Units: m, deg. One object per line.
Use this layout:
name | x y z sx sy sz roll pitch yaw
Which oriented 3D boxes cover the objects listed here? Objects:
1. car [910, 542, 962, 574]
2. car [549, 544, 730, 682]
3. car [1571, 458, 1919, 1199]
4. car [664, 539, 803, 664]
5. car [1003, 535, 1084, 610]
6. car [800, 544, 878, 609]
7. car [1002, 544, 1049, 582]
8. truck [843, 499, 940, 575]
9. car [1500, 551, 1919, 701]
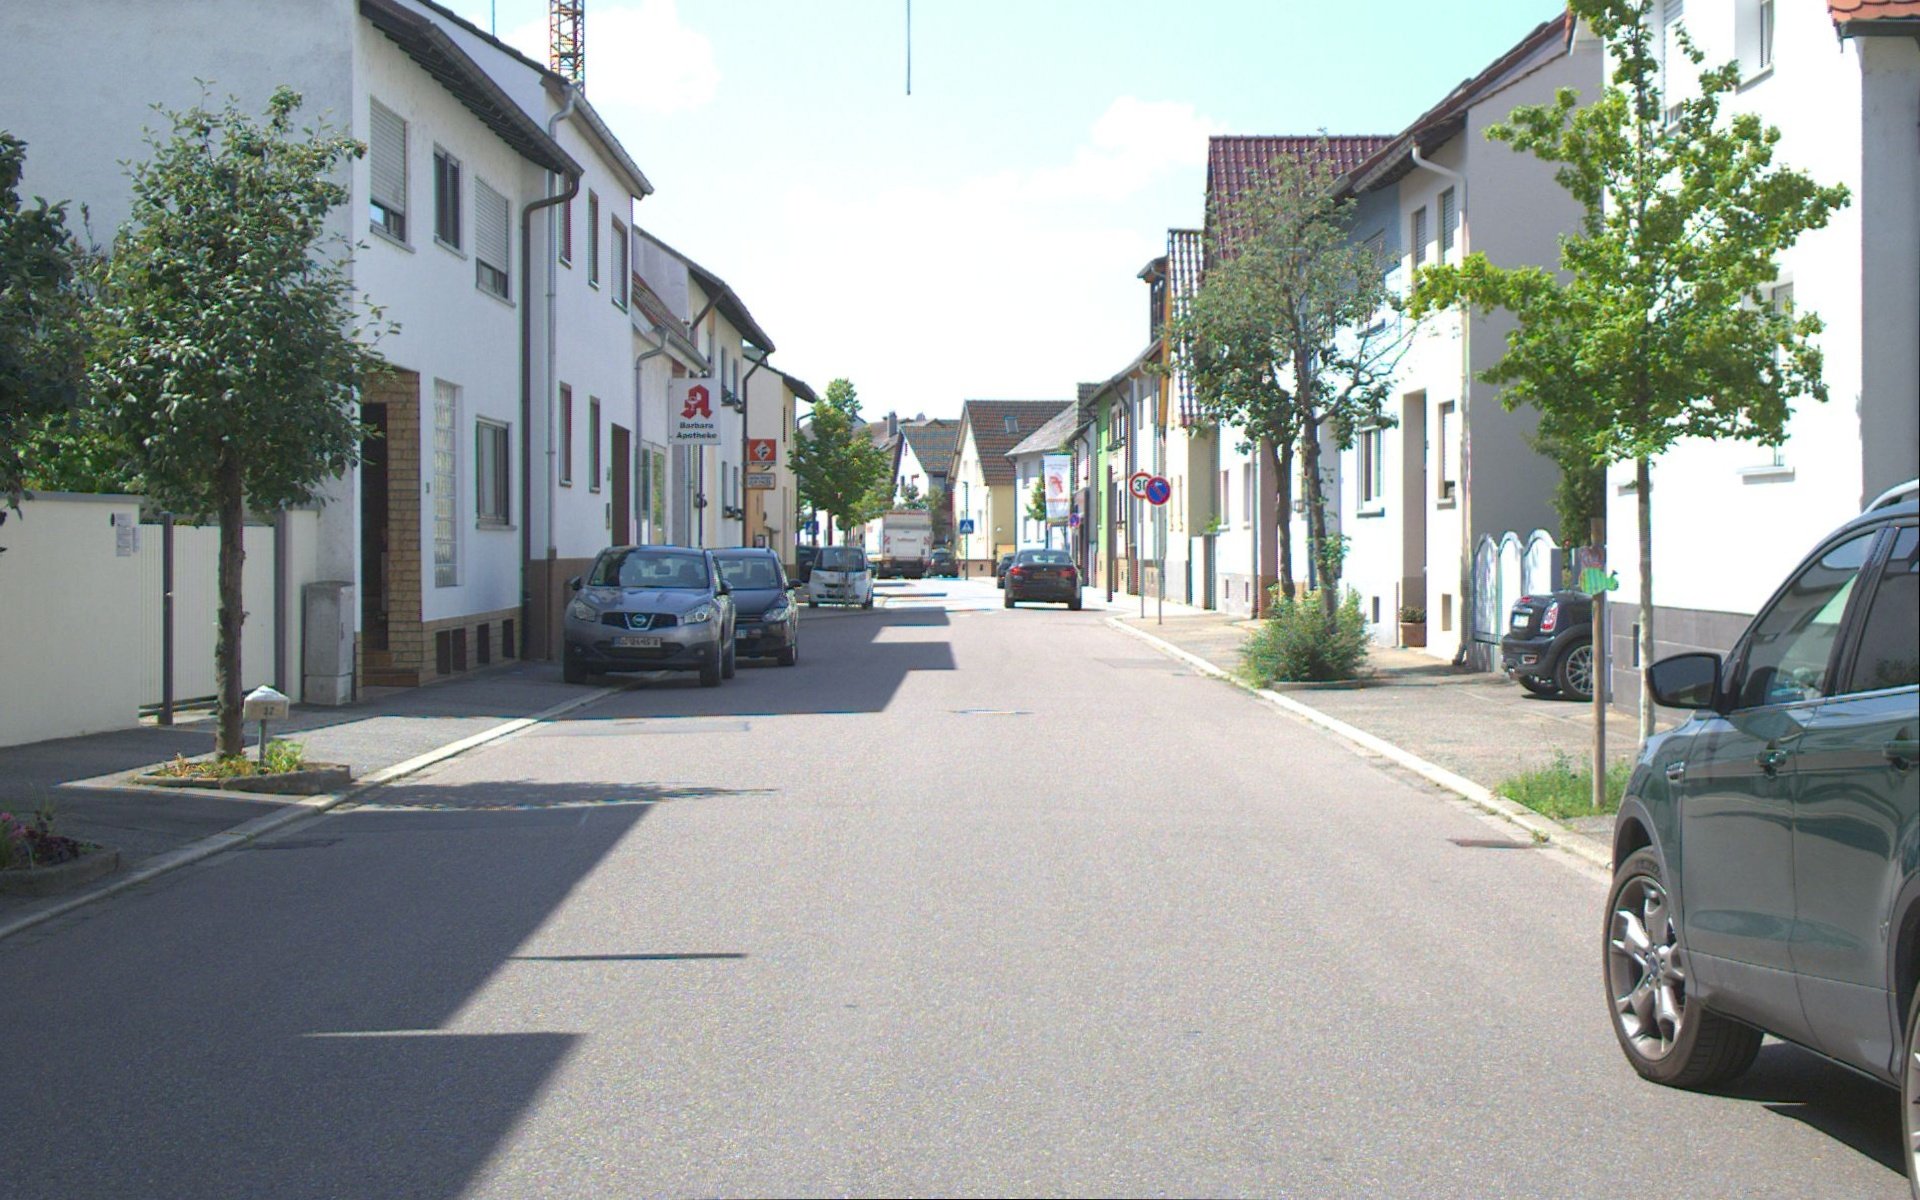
car | -1.356 -2.375 193.258 1.782 1.747 4.230 -1 1 -17
car | -3.709 0.107 40.409 1.758 1.519 4.289 0 1 -1
car | 2.798 0.544 8.324 1.728 1.711 4.276 0 1 -2
car | -3.033 -0.015 46.672 1.653 1.603 4.061 0 1 -1
car | 2.026 -0.677 84.184 1.782 1.747 4.000 -1 1 -1
car | -3.002 -0.613 86.008 1.723 1.550 4.172 1 1 1
car | 2.769 -1.564 146.133 1.782 1.558 4.337 -1 1 -2
truck | -3.745 -3.273 182.688 3.378 3.852 13.929 -1 1 -8
car | 7.392 0.237 33.739 3.922 1.410 1.740 0 1 1
